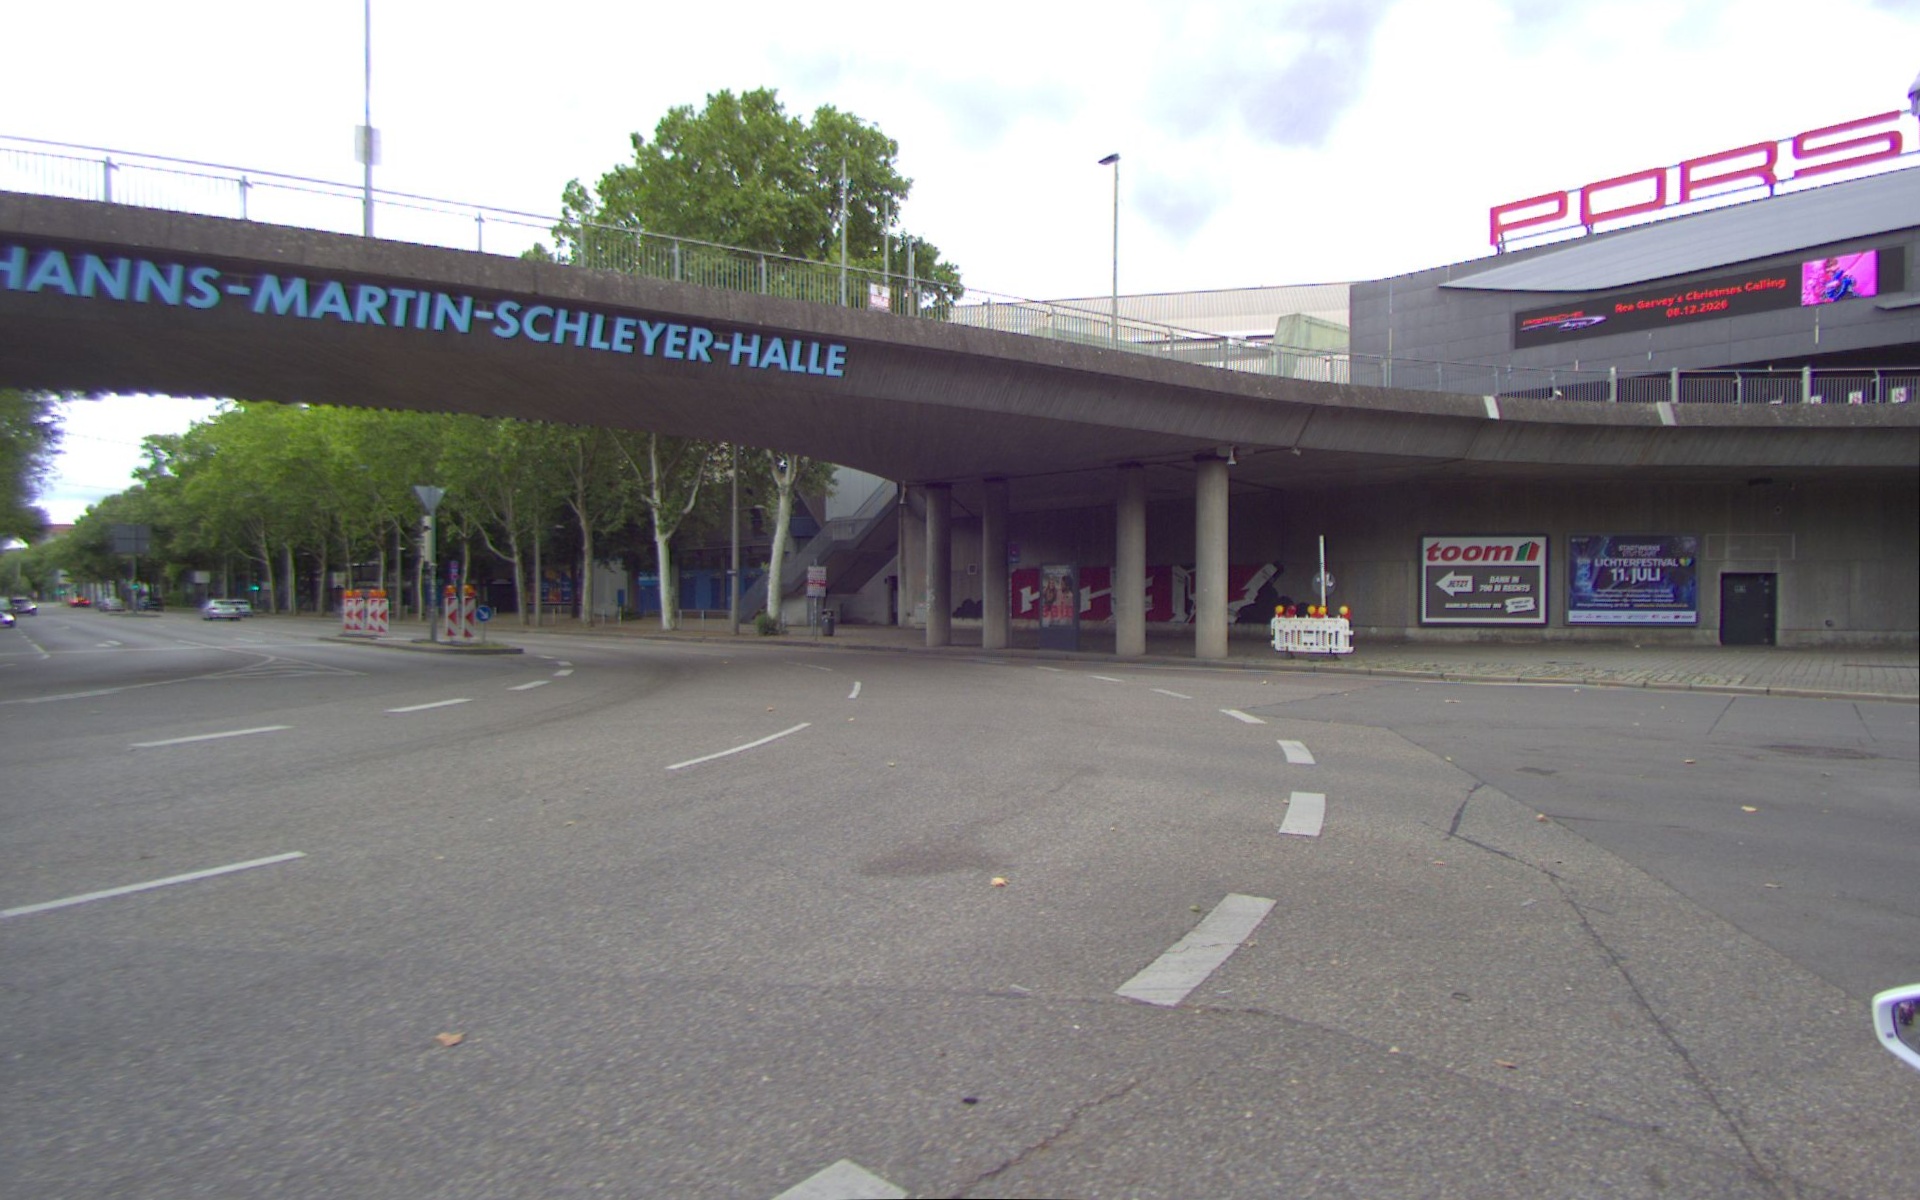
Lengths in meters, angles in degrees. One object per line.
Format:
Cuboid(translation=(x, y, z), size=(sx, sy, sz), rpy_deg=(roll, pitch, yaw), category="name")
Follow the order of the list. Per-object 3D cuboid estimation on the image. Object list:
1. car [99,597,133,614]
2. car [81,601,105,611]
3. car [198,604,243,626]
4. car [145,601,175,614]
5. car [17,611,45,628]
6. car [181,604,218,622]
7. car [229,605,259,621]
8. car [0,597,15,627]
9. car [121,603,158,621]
Cuboid(translation=(-89.264, 0.550, 106.193), size=(3.937, 1.682, 1.992), rpy_deg=(1, 0, 38), category="car")
Cuboid(translation=(-124.074, 0.806, 143.739), size=(3.938, 1.444, 1.843), rpy_deg=(0, 0, 38), category="car")
Cuboid(translation=(-51.171, 1.008, 69.505), size=(1.987, 1.437, 3.947), rpy_deg=(1, 0, -44), category="car")
Cuboid(translation=(-90.450, 0.843, 113.551), size=(3.938, 1.444, 1.843), rpy_deg=(0, 0, 38), category="car")
Cuboid(translation=(-84.858, 1.742, 91.764), size=(1.752, 1.382, 3.667), rpy_deg=(1, 1, -45), category="car")
Cuboid(translation=(-64.466, 1.092, 85.154), size=(1.987, 1.437, 3.946), rpy_deg=(1, 0, -45), category="car")
Cuboid(translation=(-61.037, 1.096, 85.605), size=(1.605, 1.330, 3.350), rpy_deg=(1, 0, -45), category="car")
Cuboid(translation=(-48.992, 0.586, 50.791), size=(1.751, 1.339, 3.668), rpy_deg=(1, 1, -43), category="car")
Cuboid(translation=(-68.151, 0.975, 83.387), size=(1.987, 1.437, 3.946), rpy_deg=(1, 0, -45), category="car")
